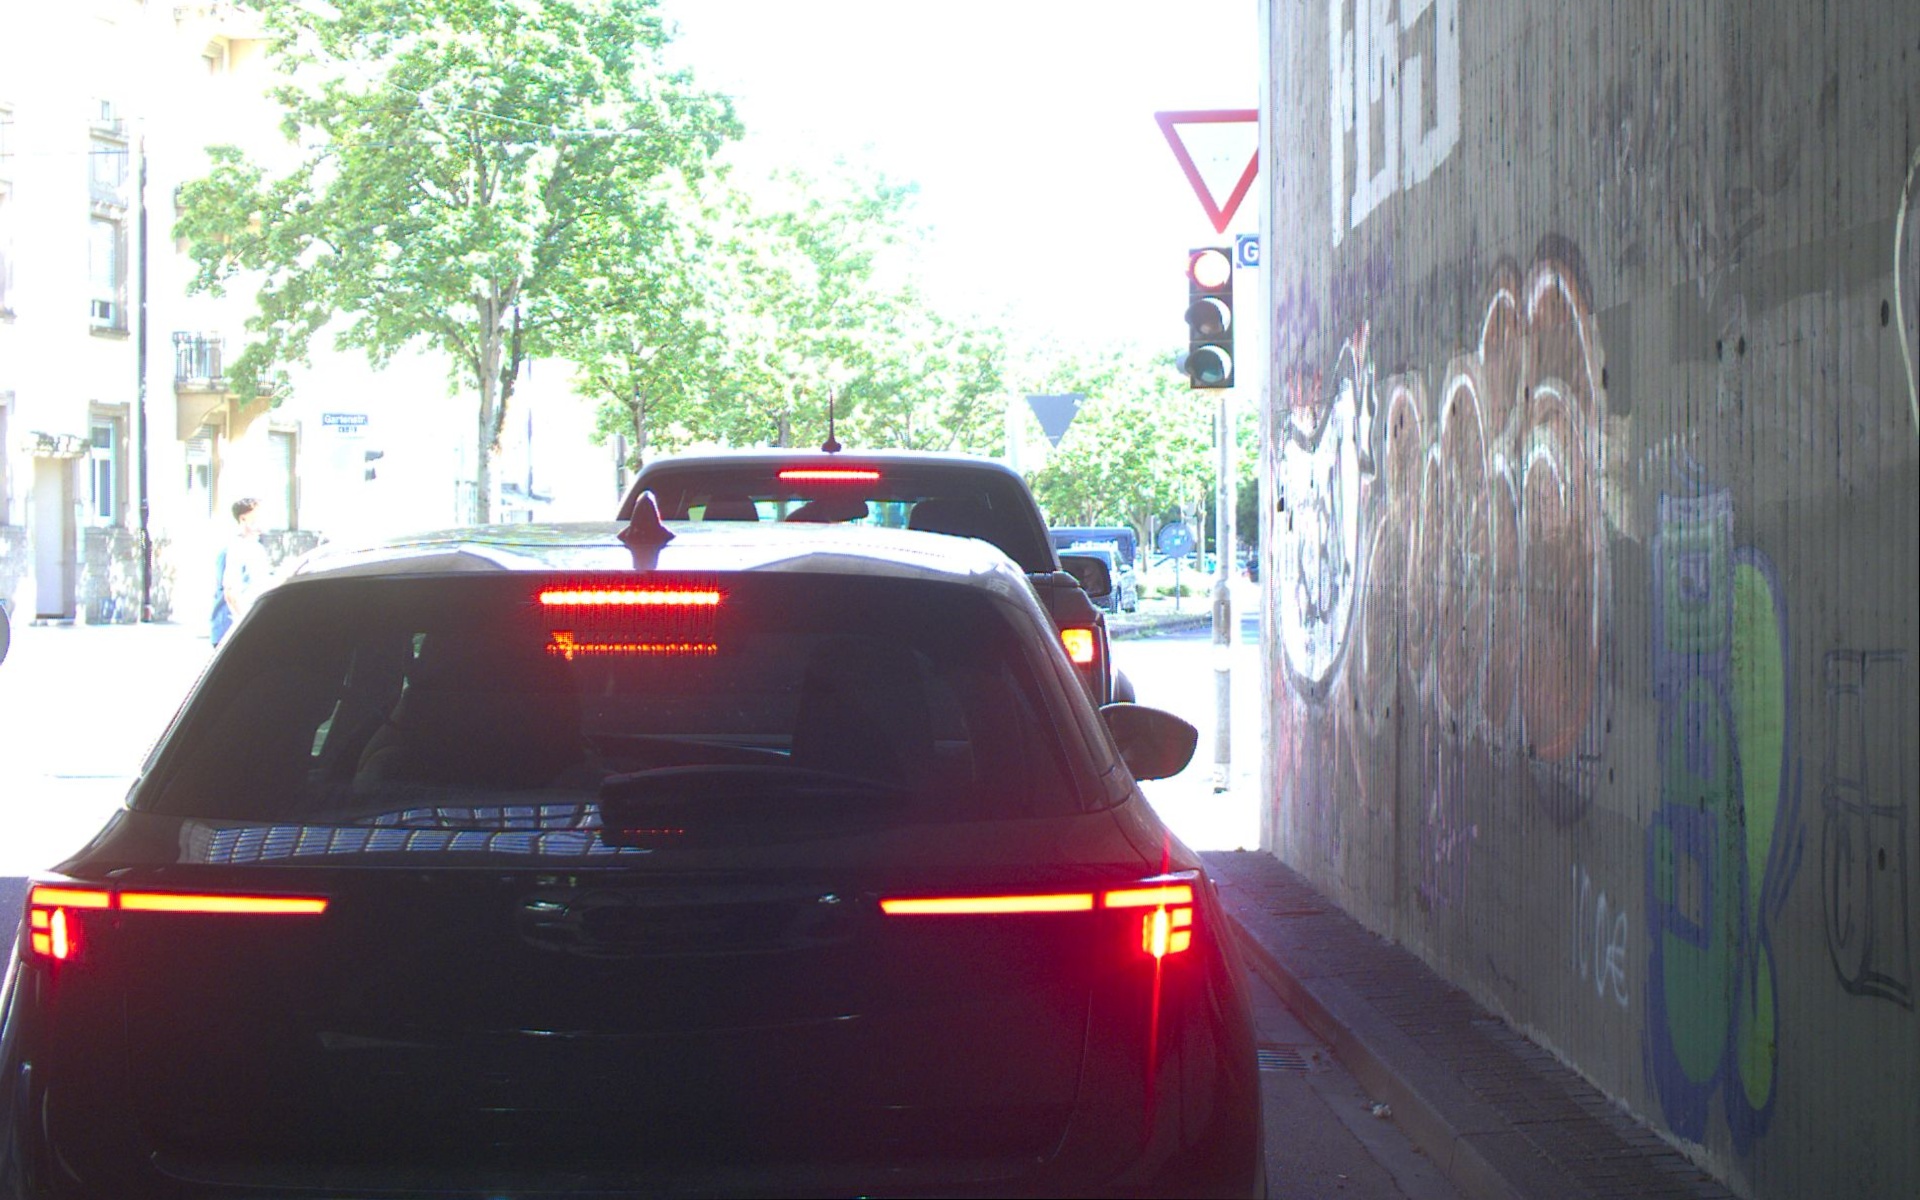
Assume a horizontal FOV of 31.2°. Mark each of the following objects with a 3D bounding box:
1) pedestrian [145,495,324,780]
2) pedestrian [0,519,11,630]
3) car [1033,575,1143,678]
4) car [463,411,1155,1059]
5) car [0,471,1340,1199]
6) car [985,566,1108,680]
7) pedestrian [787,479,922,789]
[{"bbox_3d":[-4.574,0.227,21.713,0.929,1.756,0.794,1,0,1],"label":"pedestrian"},{"bbox_3d":[-14.500,-0.379,50.933,0.672,1.632,0.740,1,0,-1],"label":"pedestrian"},{"bbox_3d":[2.584,0.495,68.427,1.994,1.963,4.163,1,1,5],"label":"car"},{"bbox_3d":[-0.458,0.352,11.981,1.993,1.865,4.000,-1,1,-1],"label":"car"},{"bbox_3d":[-0.473,0.569,6.014,1.764,1.566,4.001,1,2,-1],"label":"car"},{"bbox_3d":[1.605,0.386,62.317,1.994,1.963,4.163,1,1,5],"label":"car"},{"bbox_3d":[-0.596,0.185,19.685,0.731,1.728,0.874,1,0,-1],"label":"pedestrian"}]
